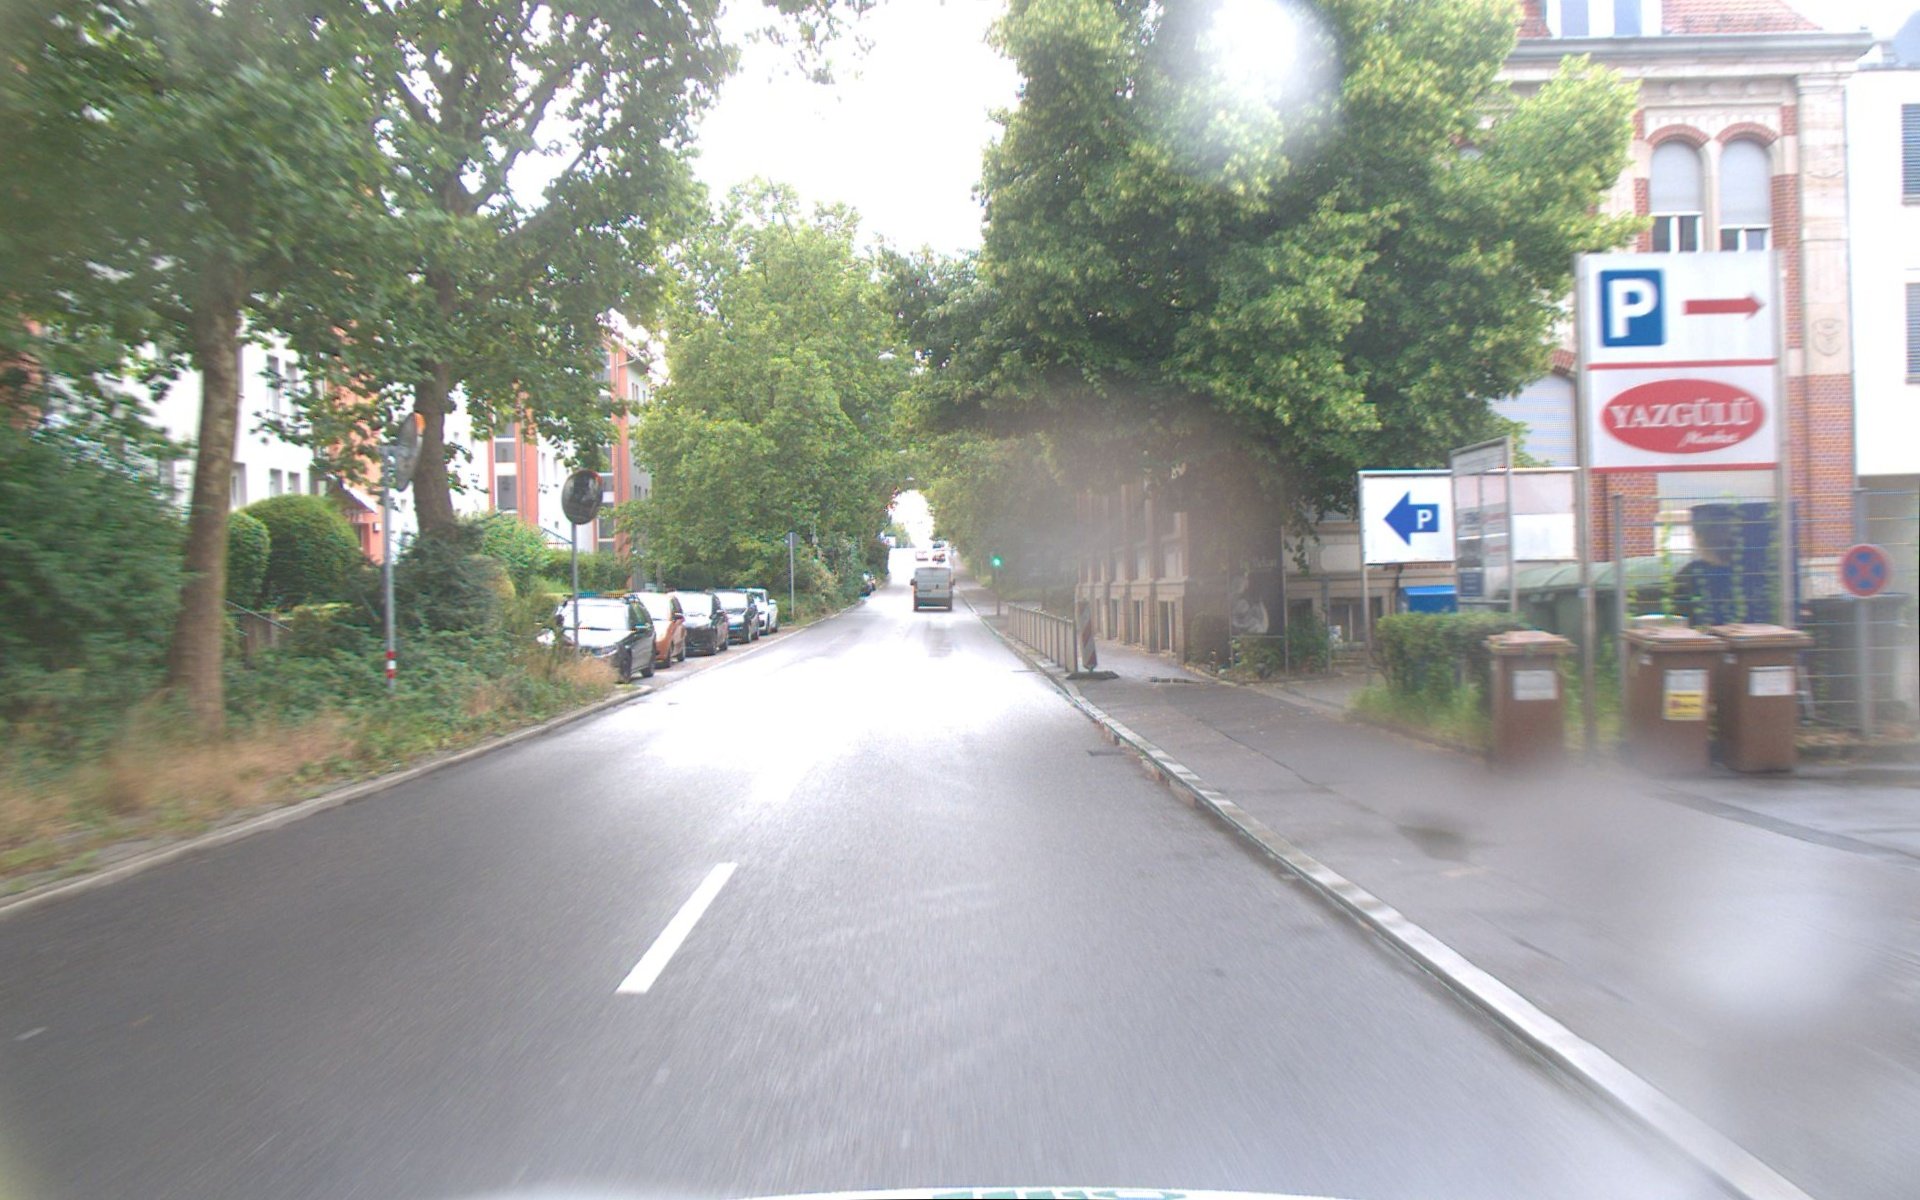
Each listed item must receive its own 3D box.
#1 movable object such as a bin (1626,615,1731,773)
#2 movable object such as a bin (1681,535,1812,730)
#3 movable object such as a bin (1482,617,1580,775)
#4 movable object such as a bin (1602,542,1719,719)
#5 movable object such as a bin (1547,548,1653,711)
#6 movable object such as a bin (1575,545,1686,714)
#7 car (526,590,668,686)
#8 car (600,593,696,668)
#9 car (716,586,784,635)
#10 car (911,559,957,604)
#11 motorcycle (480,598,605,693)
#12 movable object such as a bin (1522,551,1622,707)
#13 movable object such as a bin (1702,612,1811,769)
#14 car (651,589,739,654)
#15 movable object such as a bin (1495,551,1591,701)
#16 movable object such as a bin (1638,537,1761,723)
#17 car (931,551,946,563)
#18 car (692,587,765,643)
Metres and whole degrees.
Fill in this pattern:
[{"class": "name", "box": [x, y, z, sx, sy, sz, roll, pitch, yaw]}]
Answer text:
[{"class": "movable object such as a bin", "box": [5.376, 0.692, 12.398, 0.520, 1.135, 0.561, -2, 0, 1]}, {"class": "movable object such as a bin", "box": [6.445, 0.255, 13.579, 0.722, 1.534, 0.625, -2, 0, -4]}, {"class": "movable object such as a bin", "box": [4.292, 0.709, 12.458, 0.494, 1.135, 0.618, -2, 0, -1]}, {"class": "movable object such as a bin", "box": [6.312, 0.265, 14.921, 0.722, 1.534, 0.625, -2, 0, -4]}, {"class": "movable object such as a bin", "box": [6.259, 0.278, 16.197, 0.722, 1.534, 0.625, -2, 0, -5]}, {"class": "movable object such as a bin", "box": [6.297, 0.269, 15.560, 0.722, 1.534, 0.625, -2, 0, -4]}, {"class": "car", "box": [-6.401, 0.616, 29.635, 1.682, 1.535, 4.802, 0, 1, -3]}, {"class": "car", "box": [-6.646, 0.617, 35.496, 1.524, 1.493, 3.395, 0, 1, -2]}, {"class": "car", "box": [-6.781, 0.315, 53.825, 1.681, 1.493, 4.309, 0, 1, 0]}, {"class": "car", "box": [-1.330, -0.930, 86.114, 2.288, 2.270, 3.999, 0, 0, -1]}, {"class": "motorcycle", "box": [-6.366, 0.686, 25.252, 1.678, 1.363, 0.722, -2, 0, -1]}, {"class": "movable object such as a bin", "box": [6.223, 0.289, 16.842, 0.722, 1.534, 0.625, -2, 0, -4]}, {"class": "movable object such as a bin", "box": [6.001, 0.669, 12.478, 0.494, 1.135, 0.618, -2, 0, -1]}, {"class": "car", "box": [-6.495, 0.501, 40.854, 1.682, 1.493, 3.754, 0, 1, -2]}, {"class": "movable object such as a bin", "box": [6.160, 0.263, 17.489, 0.722, 1.527, 0.625, -2, 0, -4]}, {"class": "movable object such as a bin", "box": [6.362, 0.250, 14.255, 0.722, 1.534, 0.625, -2, 0, -4]}, {"class": "car", "box": [-3.277, -6.610, 255.208, 2.103, 1.739, 3.874, 1, 0, 3]}, {"class": "car", "box": [-6.532, 0.392, 47.012, 1.682, 1.493, 4.231, 0, 1, -3]}]
